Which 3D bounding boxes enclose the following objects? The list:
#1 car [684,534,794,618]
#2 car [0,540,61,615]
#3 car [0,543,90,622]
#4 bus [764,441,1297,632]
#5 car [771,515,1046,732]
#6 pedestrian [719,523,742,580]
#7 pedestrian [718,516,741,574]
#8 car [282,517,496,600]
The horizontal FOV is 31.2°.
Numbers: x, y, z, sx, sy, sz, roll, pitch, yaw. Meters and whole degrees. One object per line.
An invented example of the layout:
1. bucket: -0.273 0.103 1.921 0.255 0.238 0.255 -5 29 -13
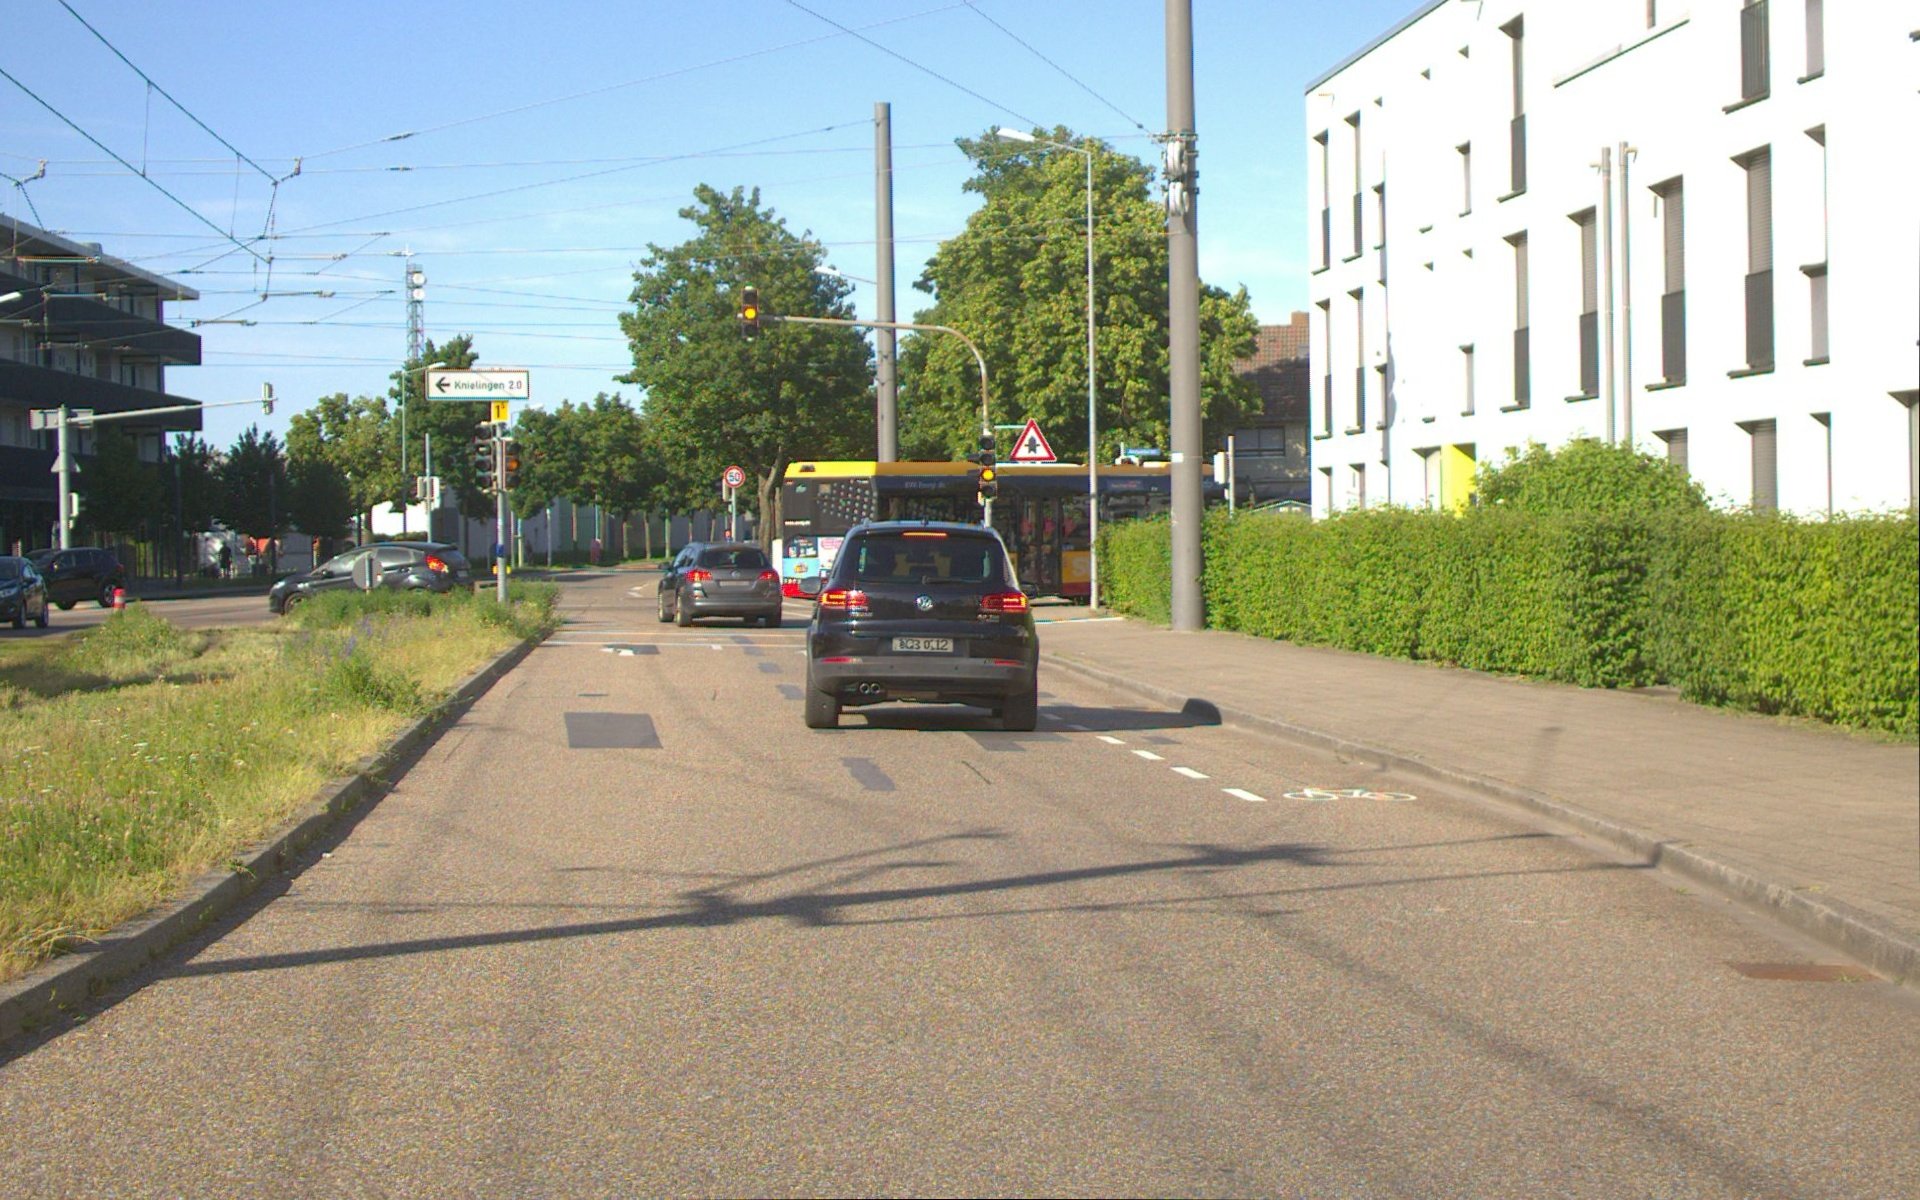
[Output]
1. car: -3.890 -0.436 60.013 1.750 1.382 4.001 1 1 -6
2. car: -19.241 -0.437 68.483 1.787 1.414 4.001 -2 2 -4
3. car: -25.265 -0.464 91.390 1.996 2.007 3.995 -1 2 25
4. bus: 1.856 -1.324 72.368 2.845 3.658 14.650 2 2 39
5. car: -0.499 0.136 28.242 1.905 1.637 4.001 1 1 -6
6. pedestrian: -6.563 -1.396 98.374 0.603 1.634 0.529 1 1 0
7. pedestrian: -6.568 -1.565 97.825 0.603 1.634 0.529 1 1 0
8. car: -11.043 -0.802 66.445 3.733 1.426 1.706 -2 2 26
